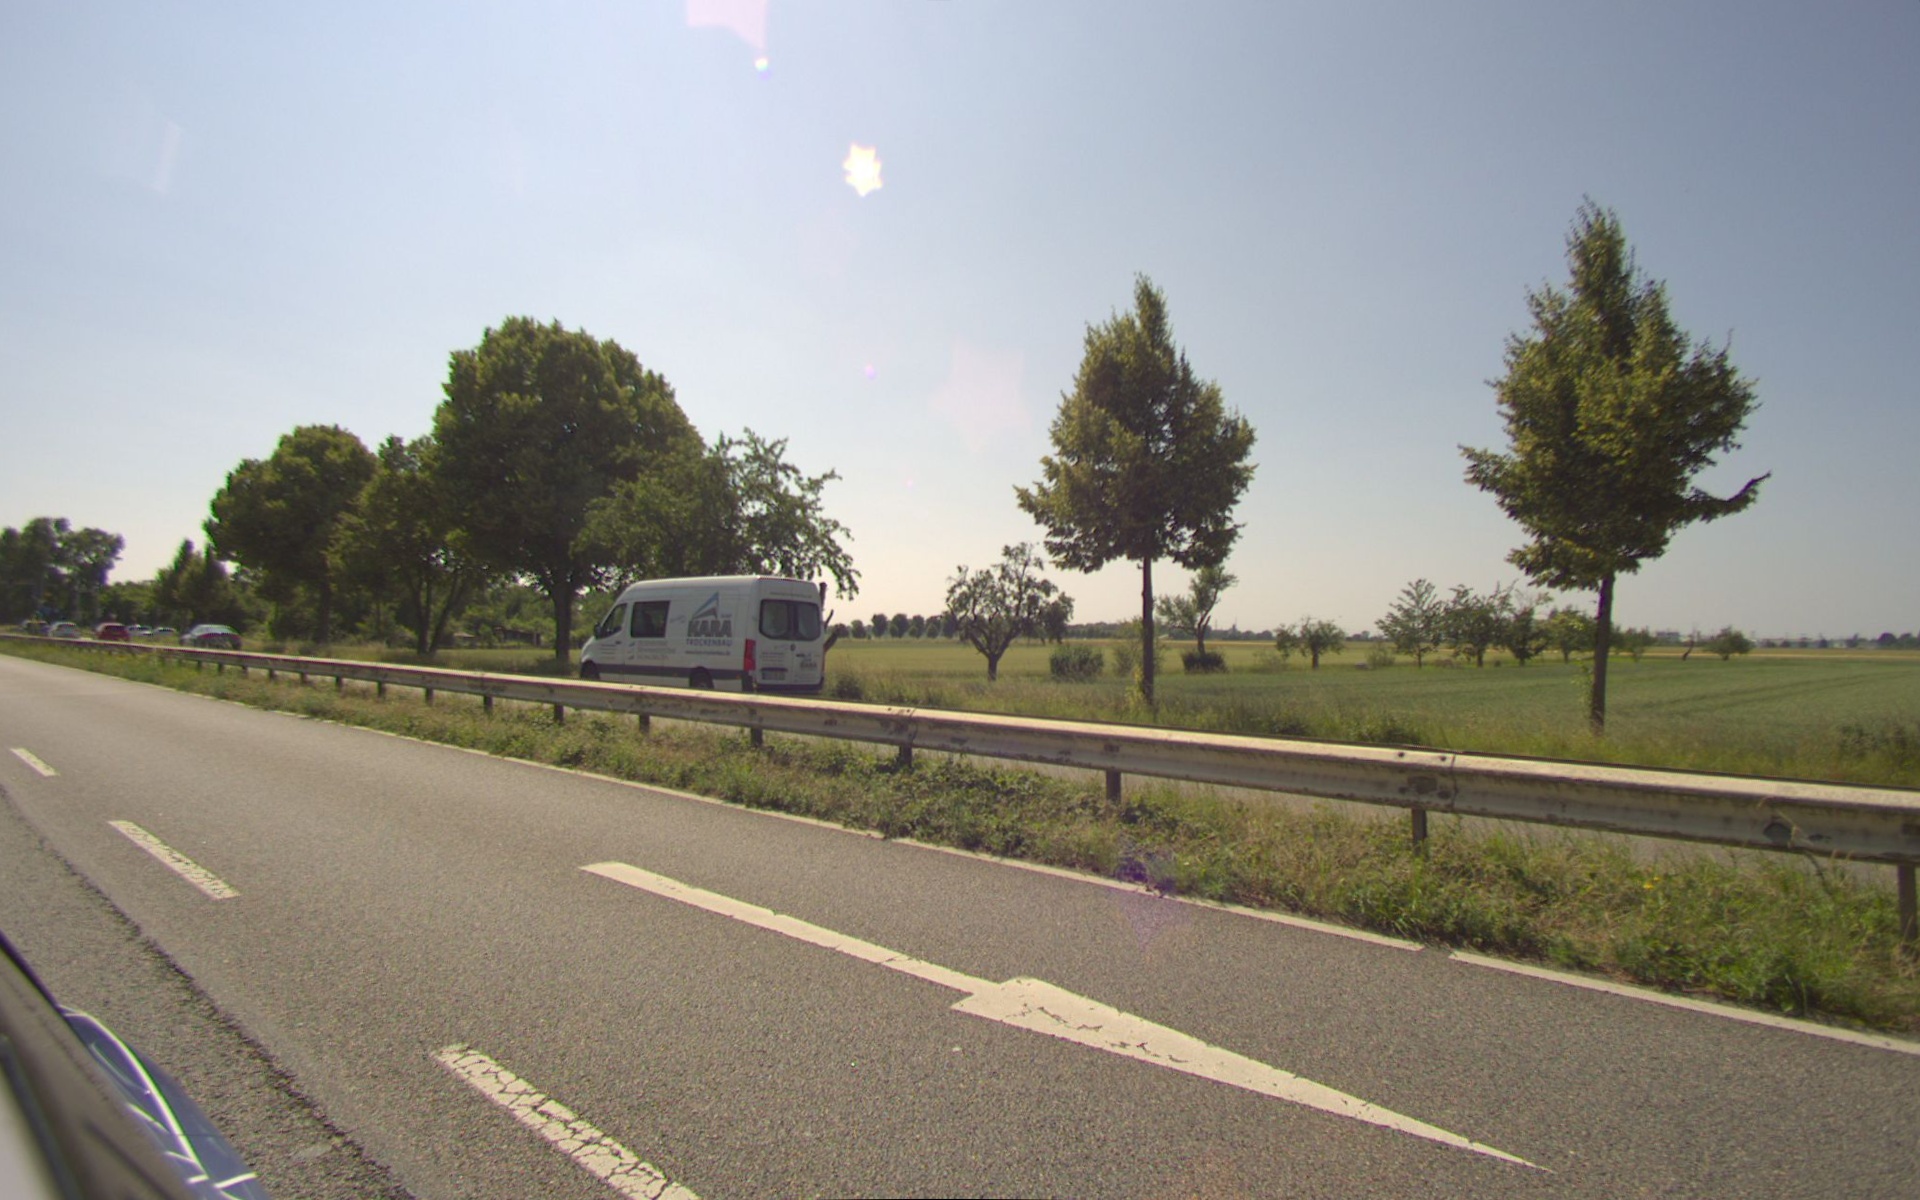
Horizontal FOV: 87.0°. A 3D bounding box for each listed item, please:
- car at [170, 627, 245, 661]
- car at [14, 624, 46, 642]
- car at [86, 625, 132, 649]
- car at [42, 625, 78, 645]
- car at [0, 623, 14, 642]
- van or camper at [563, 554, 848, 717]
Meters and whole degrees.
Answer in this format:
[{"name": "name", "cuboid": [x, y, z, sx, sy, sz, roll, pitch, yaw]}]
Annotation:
[{"name": "car", "cuboid": [-37.480, 2.163, 50.360, 4.862, 1.603, 1.935, -1, -3, 41]}, {"name": "car", "cuboid": [-87.318, 3.082, 95.016, 3.892, 1.603, 1.742, -1, -3, 41]}, {"name": "car", "cuboid": [-58.433, 2.528, 69.471, 3.892, 1.603, 1.742, -1, -3, 41]}, {"name": "car", "cuboid": [-74.956, 2.876, 84.275, 3.892, 1.603, 1.742, -1, -3, 41]}, {"name": "car", "cuboid": [-82.749, 2.749, 86.892, 3.749, 1.603, 1.742, -1, -3, 41]}, {"name": "van or camper", "cuboid": [-5.667, 0.722, 21.736, 7.089, 2.971, 2.360, -1, -3, 42]}]
